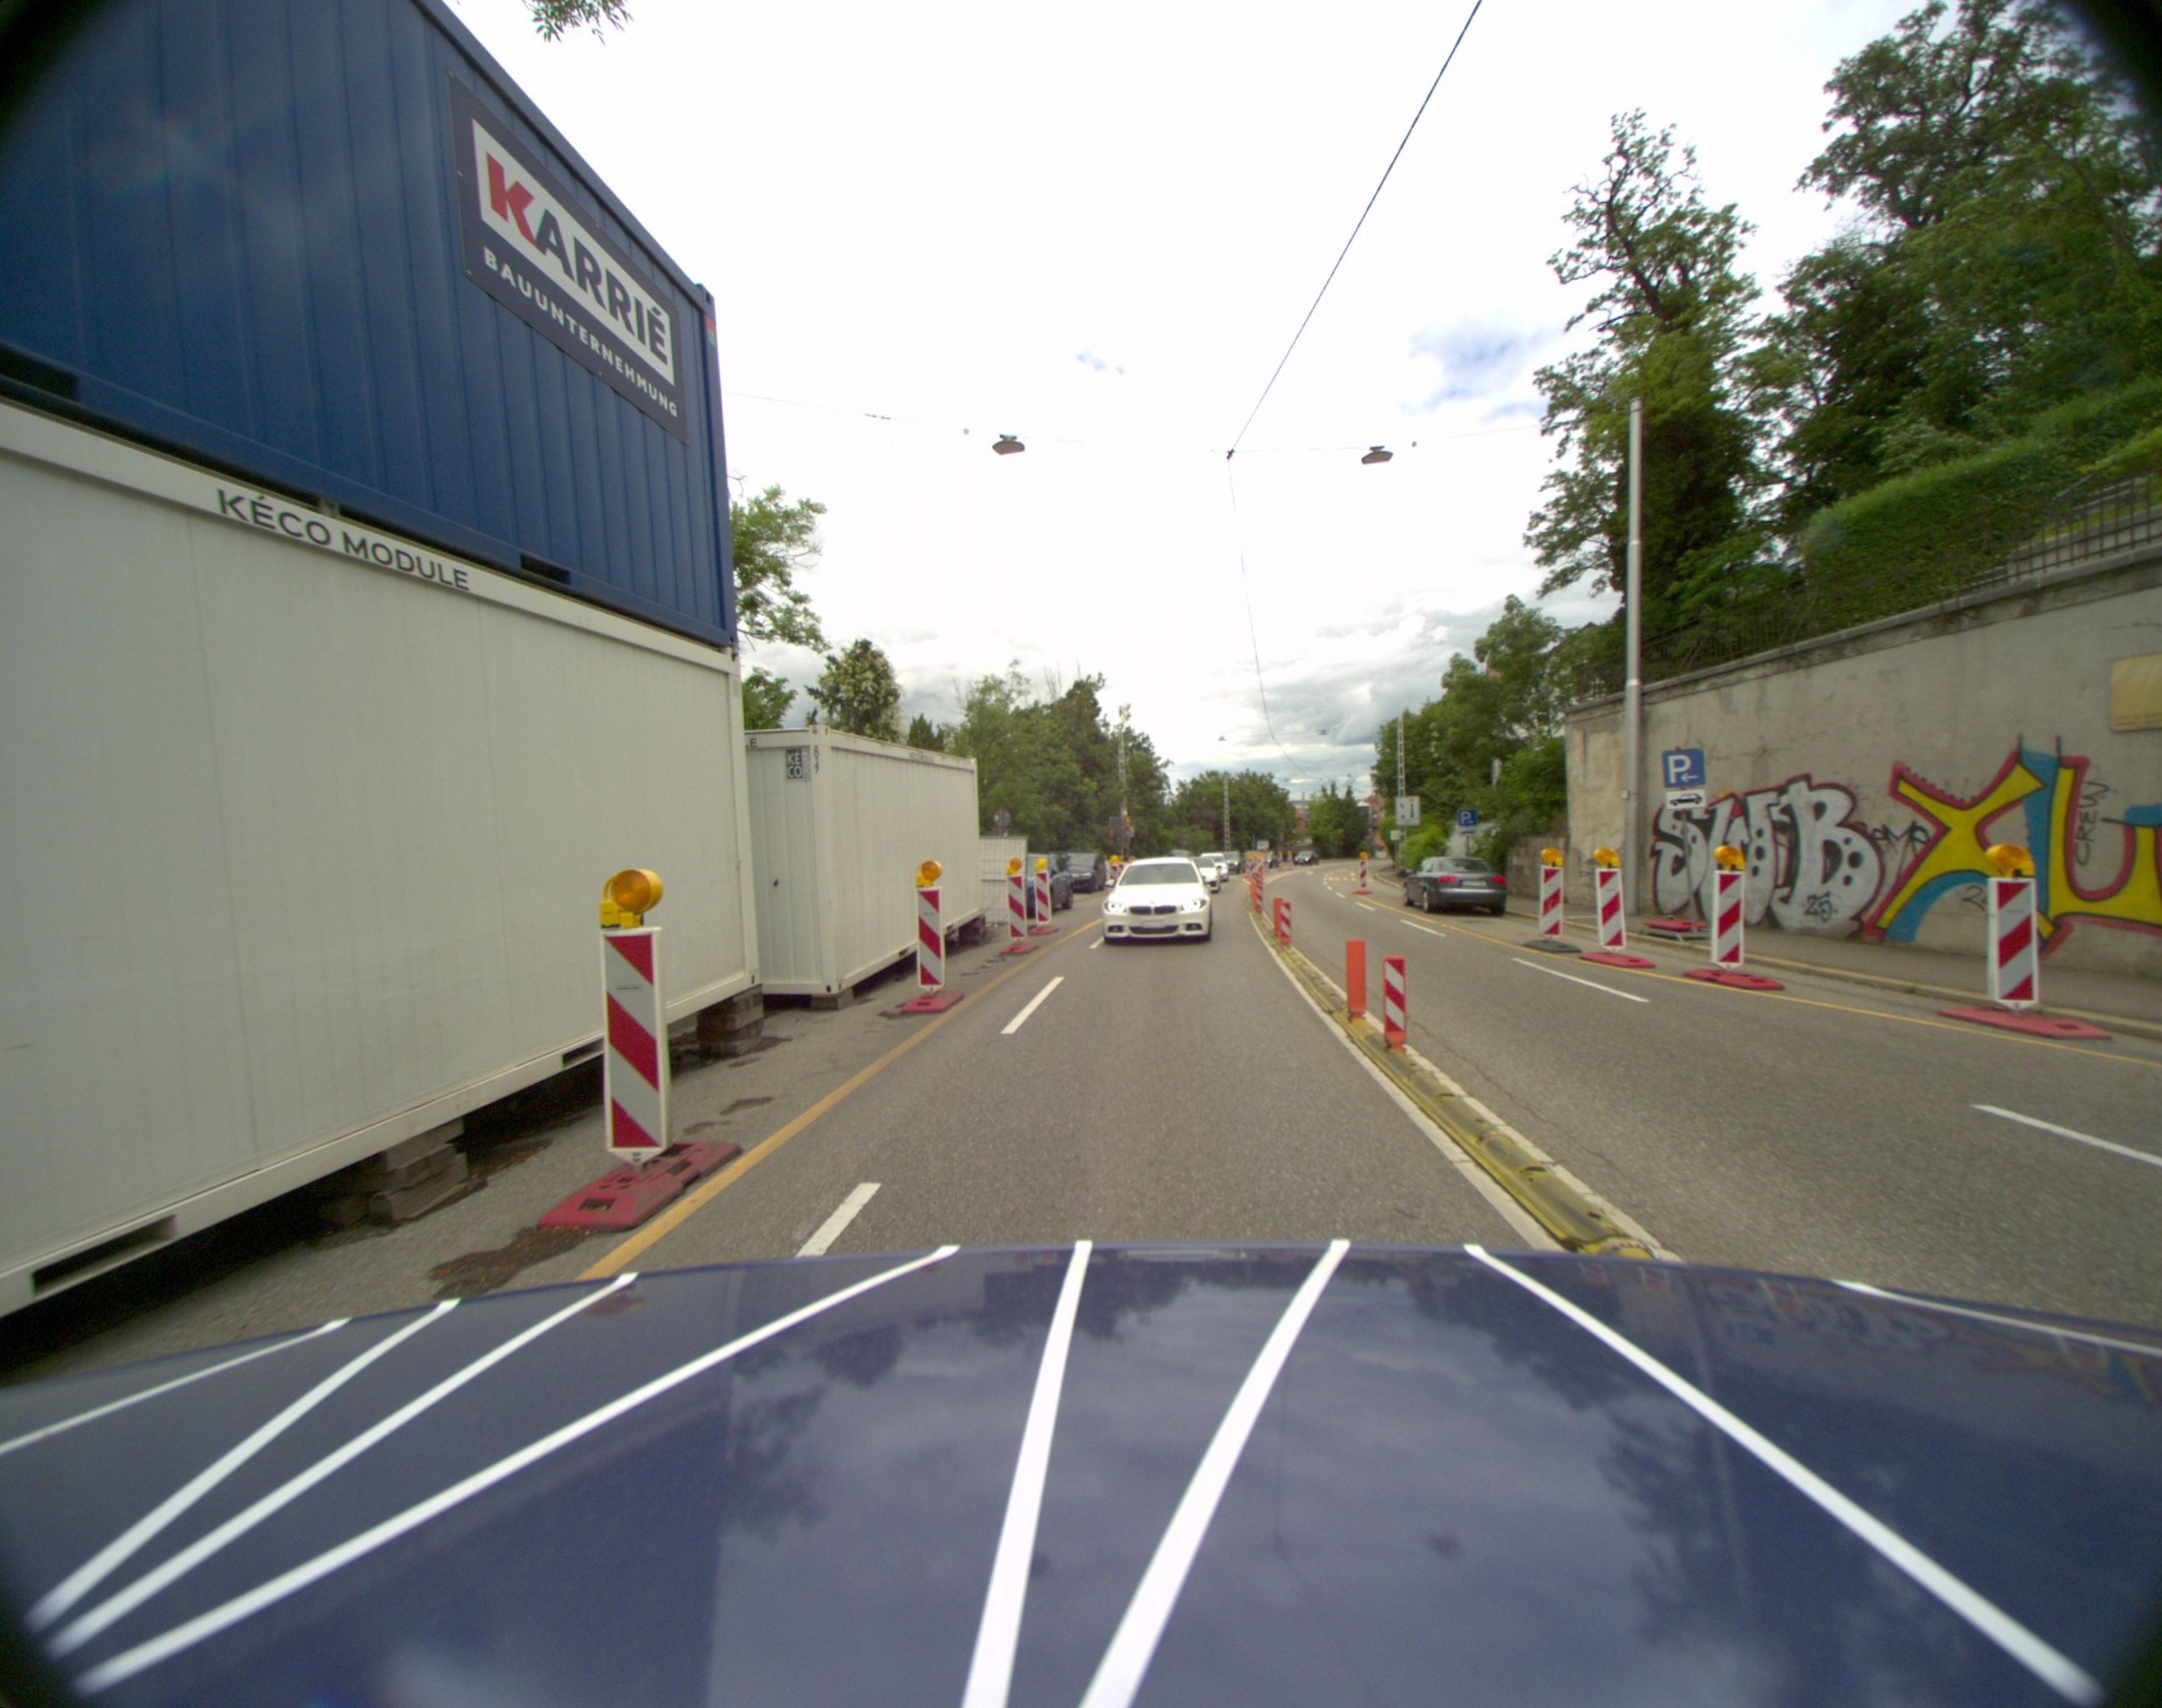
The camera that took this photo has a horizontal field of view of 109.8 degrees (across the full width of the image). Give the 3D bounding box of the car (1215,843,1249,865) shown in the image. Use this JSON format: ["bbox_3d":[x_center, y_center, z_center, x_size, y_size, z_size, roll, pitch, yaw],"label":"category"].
[{"bbox_3d":[11.203,-0.045,56.092,1.796,1.502,4.005,2,2,21],"label":"car"}]

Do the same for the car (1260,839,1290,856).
[{"bbox_3d":[18.137,-0.613,70.835,1.795,1.502,4.006,0,2,28],"label":"car"}]

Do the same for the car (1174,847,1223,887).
[{"bbox_3d":[4.799,0.461,30.605,1.790,1.472,4.248,-1,0,11],"label":"car"}]

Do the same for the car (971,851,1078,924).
[{"bbox_3d":[-1.416,0.818,20.993,1.842,1.633,4.505,3,2,10],"label":"car"}]

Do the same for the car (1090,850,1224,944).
[{"bbox_3d":[1.592,0.694,14.295,1.790,1.472,4.249,-1,0,15],"label":"car"}]

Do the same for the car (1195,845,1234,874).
[{"bbox_3d":[7.559,0.264,42.809,1.790,1.542,4.249,0,1,15],"label":"car"}]

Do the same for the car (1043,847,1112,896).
[{"bbox_3d":[-0.047,0.649,31.284,1.864,1.665,4.649,5,2,11],"label":"car"}]

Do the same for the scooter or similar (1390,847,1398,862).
[{"bbox_3d":[26.105,0.019,63.436,0.429,1.202,1.283,-2,1,14],"label":"scooter or similar"}]

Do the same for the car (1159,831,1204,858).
[{"bbox_3d":[7.073,-0.684,53.120,1.854,1.665,4.285,6,3,23],"label":"car"}]

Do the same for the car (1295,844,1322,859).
[{"bbox_3d":[23.375,-0.233,77.906,1.788,1.472,4.252,0,1,29],"label":"car"}]

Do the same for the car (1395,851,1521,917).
[{"bbox_3d":[9.410,0.666,19.348,1.802,1.365,4.392,2,1,12],"label":"car"}]
